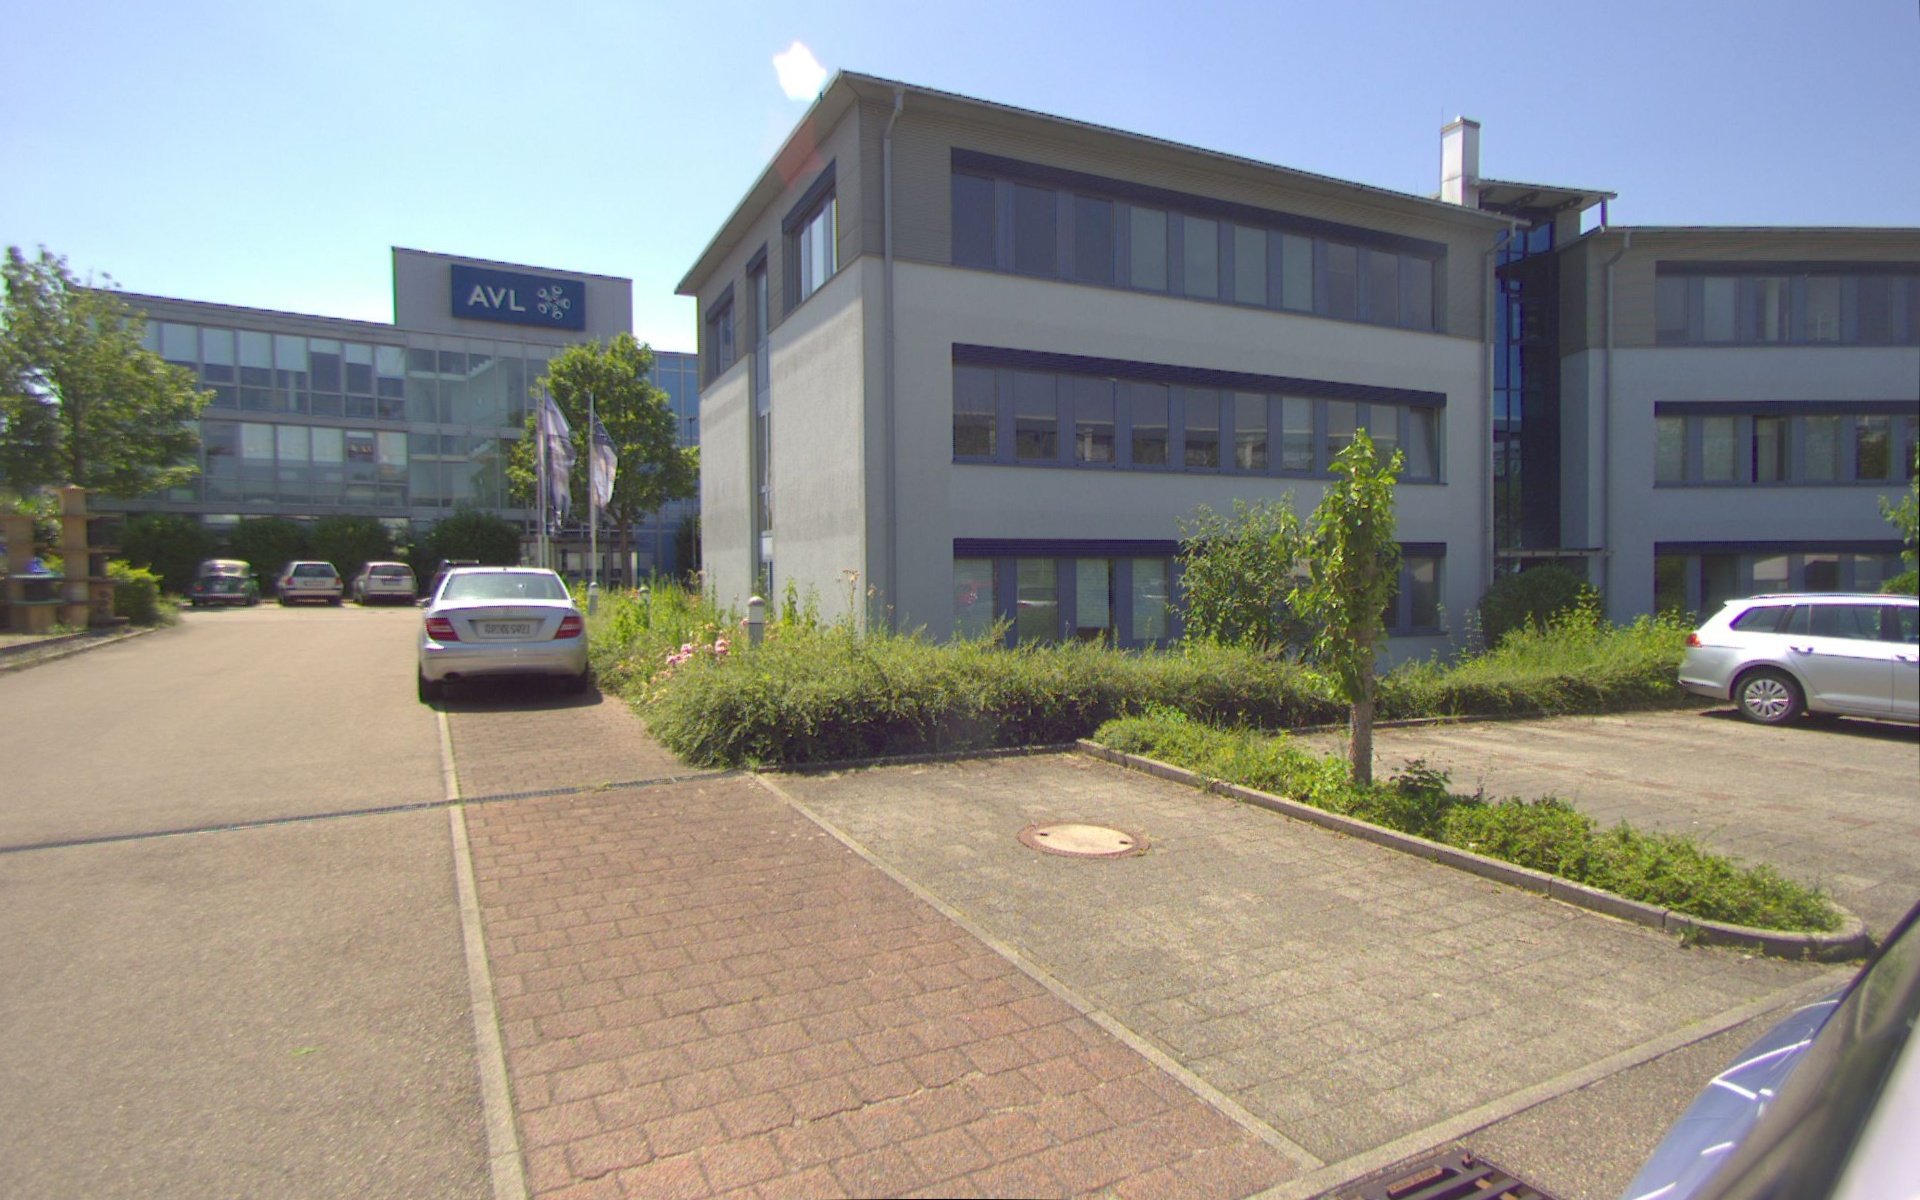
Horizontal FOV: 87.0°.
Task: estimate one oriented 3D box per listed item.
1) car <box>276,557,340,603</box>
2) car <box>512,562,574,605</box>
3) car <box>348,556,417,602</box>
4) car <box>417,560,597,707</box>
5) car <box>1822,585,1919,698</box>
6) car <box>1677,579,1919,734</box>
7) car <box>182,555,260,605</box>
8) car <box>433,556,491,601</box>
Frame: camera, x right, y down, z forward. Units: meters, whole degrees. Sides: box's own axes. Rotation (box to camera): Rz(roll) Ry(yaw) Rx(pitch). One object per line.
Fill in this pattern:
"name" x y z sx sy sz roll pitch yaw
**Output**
"car" -22.131 -0.665 34.296 1.643 1.458 3.999 0 1 -36
"car" -15.627 -0.613 37.857 1.714 1.538 4.005 0 1 -29
"car" -20.489 -0.726 35.835 1.717 1.538 3.999 0 1 -36
"car" -5.490 0.302 12.069 1.694 1.454 3.722 0 1 -28
"car" 13.333 0.571 12.436 1.619 1.409 3.832 0 2 -30
"car" 10.418 0.576 10.487 1.793 1.515 4.526 0 2 -30
"car" -23.990 -0.642 32.960 1.715 1.538 4.003 0 1 -32
"car" -18.092 -0.760 36.694 1.714 1.538 4.005 0 1 -29
